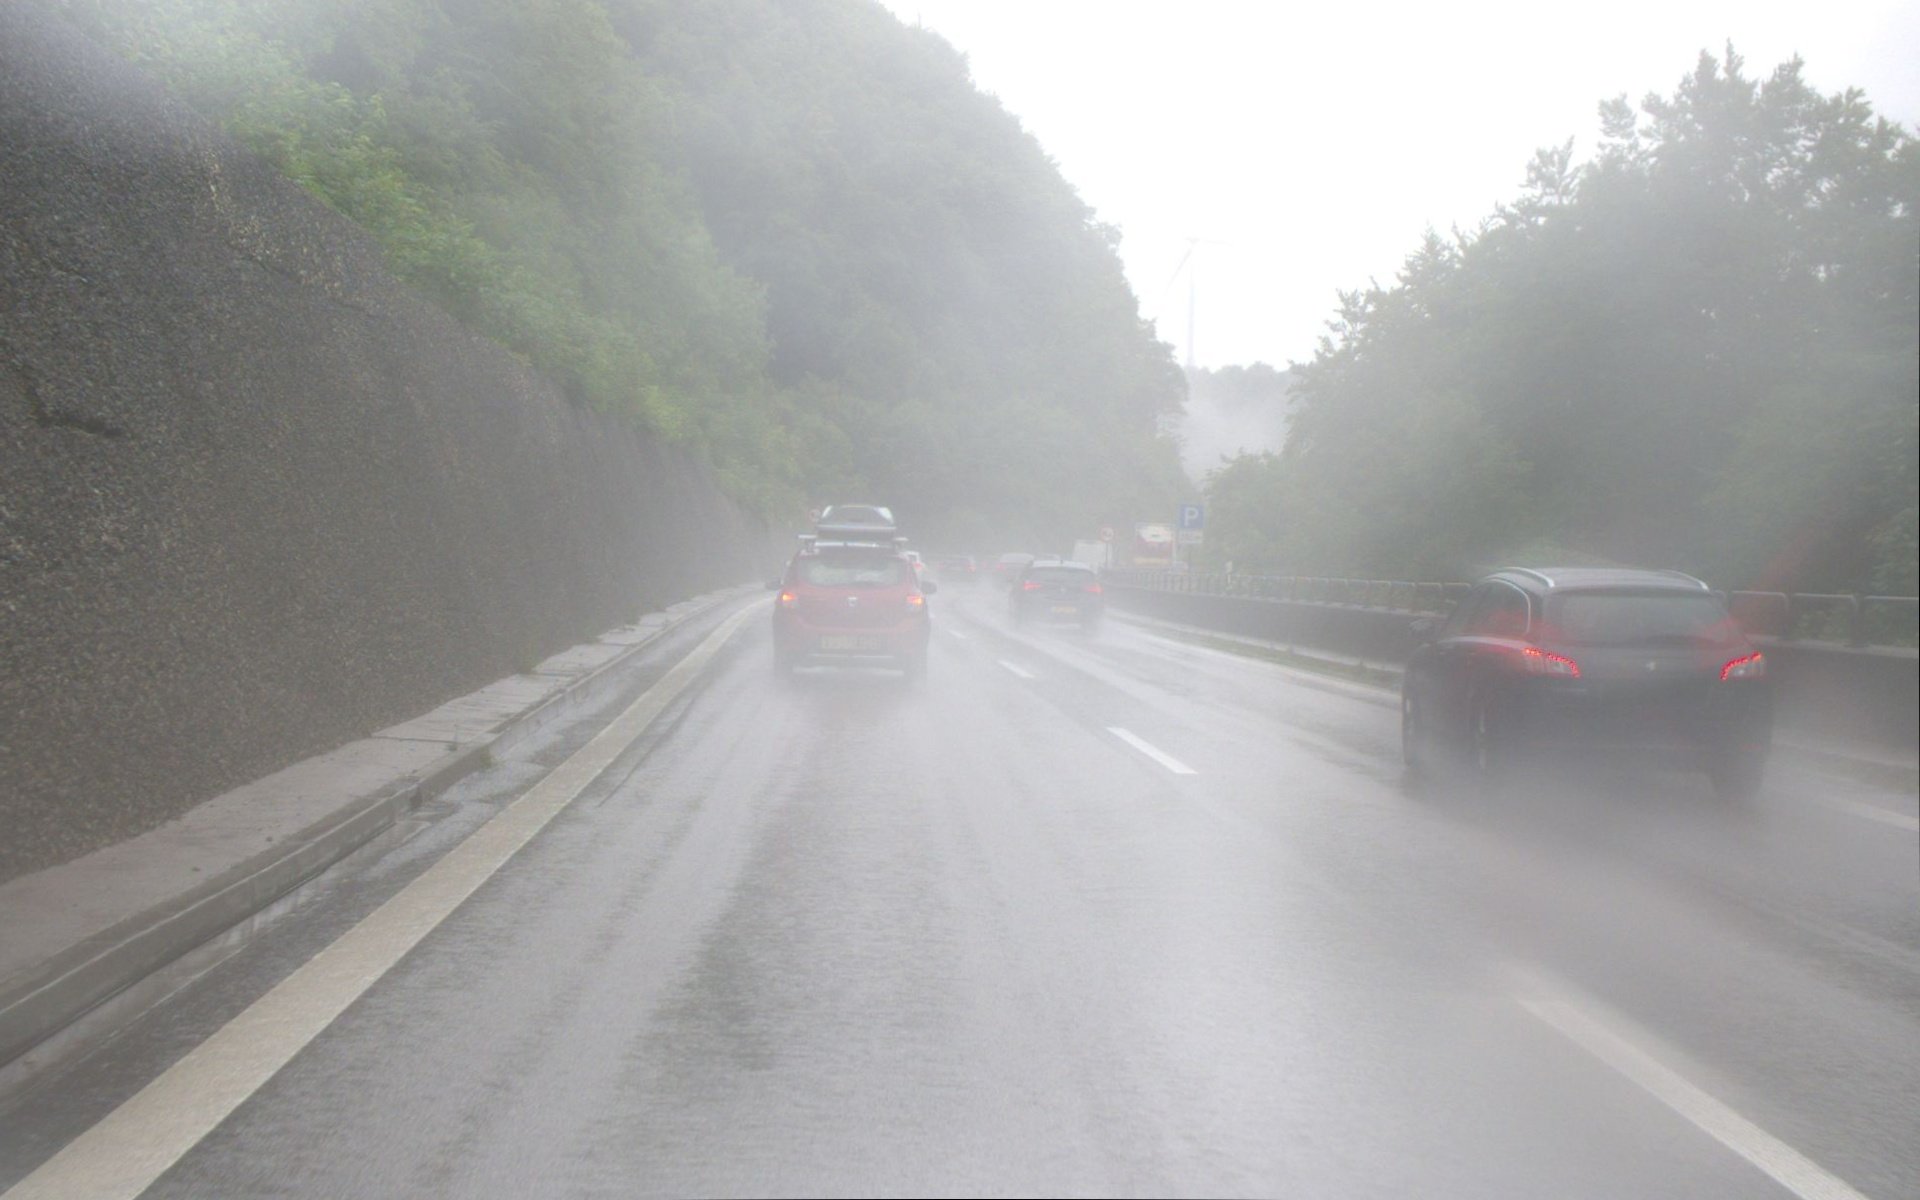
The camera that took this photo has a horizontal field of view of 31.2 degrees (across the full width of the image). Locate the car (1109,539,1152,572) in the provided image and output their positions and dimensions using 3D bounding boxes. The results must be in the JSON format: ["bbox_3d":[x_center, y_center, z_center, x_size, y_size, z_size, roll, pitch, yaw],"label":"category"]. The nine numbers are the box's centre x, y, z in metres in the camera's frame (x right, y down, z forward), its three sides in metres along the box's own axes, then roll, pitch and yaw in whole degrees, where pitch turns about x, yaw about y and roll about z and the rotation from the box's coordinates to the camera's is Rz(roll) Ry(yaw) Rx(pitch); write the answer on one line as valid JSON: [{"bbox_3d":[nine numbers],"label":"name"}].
[{"bbox_3d":[10.469,-2.747,211.156,2.449,2.007,4.736,0,1,0],"label":"car"}]

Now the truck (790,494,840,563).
[{"bbox_3d":[-5.853,-2.880,139.173,1.993,2.741,5.587,0,1,-2],"label":"truck"}]

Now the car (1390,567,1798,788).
[{"bbox_3d":[4.053,0.445,22.622,1.800,1.303,4.000,0,1,-2],"label":"car"}]

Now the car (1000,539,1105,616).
[{"bbox_3d":[1.878,-0.480,70.883,1.993,1.546,4.000,0,1,-1],"label":"car"}]

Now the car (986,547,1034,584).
[{"bbox_3d":[2.162,-1.489,148.905,1.993,1.571,4.000,0,1,-1],"label":"car"}]

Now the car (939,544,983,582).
[{"bbox_3d":[0.022,-1.739,159.876,1.993,1.743,4.000,0,1,-1],"label":"car"}]

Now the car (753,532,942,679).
[{"bbox_3d":[-1.266,0.062,38.833,1.993,1.547,4.000,-1,0,-2],"label":"car"}]
